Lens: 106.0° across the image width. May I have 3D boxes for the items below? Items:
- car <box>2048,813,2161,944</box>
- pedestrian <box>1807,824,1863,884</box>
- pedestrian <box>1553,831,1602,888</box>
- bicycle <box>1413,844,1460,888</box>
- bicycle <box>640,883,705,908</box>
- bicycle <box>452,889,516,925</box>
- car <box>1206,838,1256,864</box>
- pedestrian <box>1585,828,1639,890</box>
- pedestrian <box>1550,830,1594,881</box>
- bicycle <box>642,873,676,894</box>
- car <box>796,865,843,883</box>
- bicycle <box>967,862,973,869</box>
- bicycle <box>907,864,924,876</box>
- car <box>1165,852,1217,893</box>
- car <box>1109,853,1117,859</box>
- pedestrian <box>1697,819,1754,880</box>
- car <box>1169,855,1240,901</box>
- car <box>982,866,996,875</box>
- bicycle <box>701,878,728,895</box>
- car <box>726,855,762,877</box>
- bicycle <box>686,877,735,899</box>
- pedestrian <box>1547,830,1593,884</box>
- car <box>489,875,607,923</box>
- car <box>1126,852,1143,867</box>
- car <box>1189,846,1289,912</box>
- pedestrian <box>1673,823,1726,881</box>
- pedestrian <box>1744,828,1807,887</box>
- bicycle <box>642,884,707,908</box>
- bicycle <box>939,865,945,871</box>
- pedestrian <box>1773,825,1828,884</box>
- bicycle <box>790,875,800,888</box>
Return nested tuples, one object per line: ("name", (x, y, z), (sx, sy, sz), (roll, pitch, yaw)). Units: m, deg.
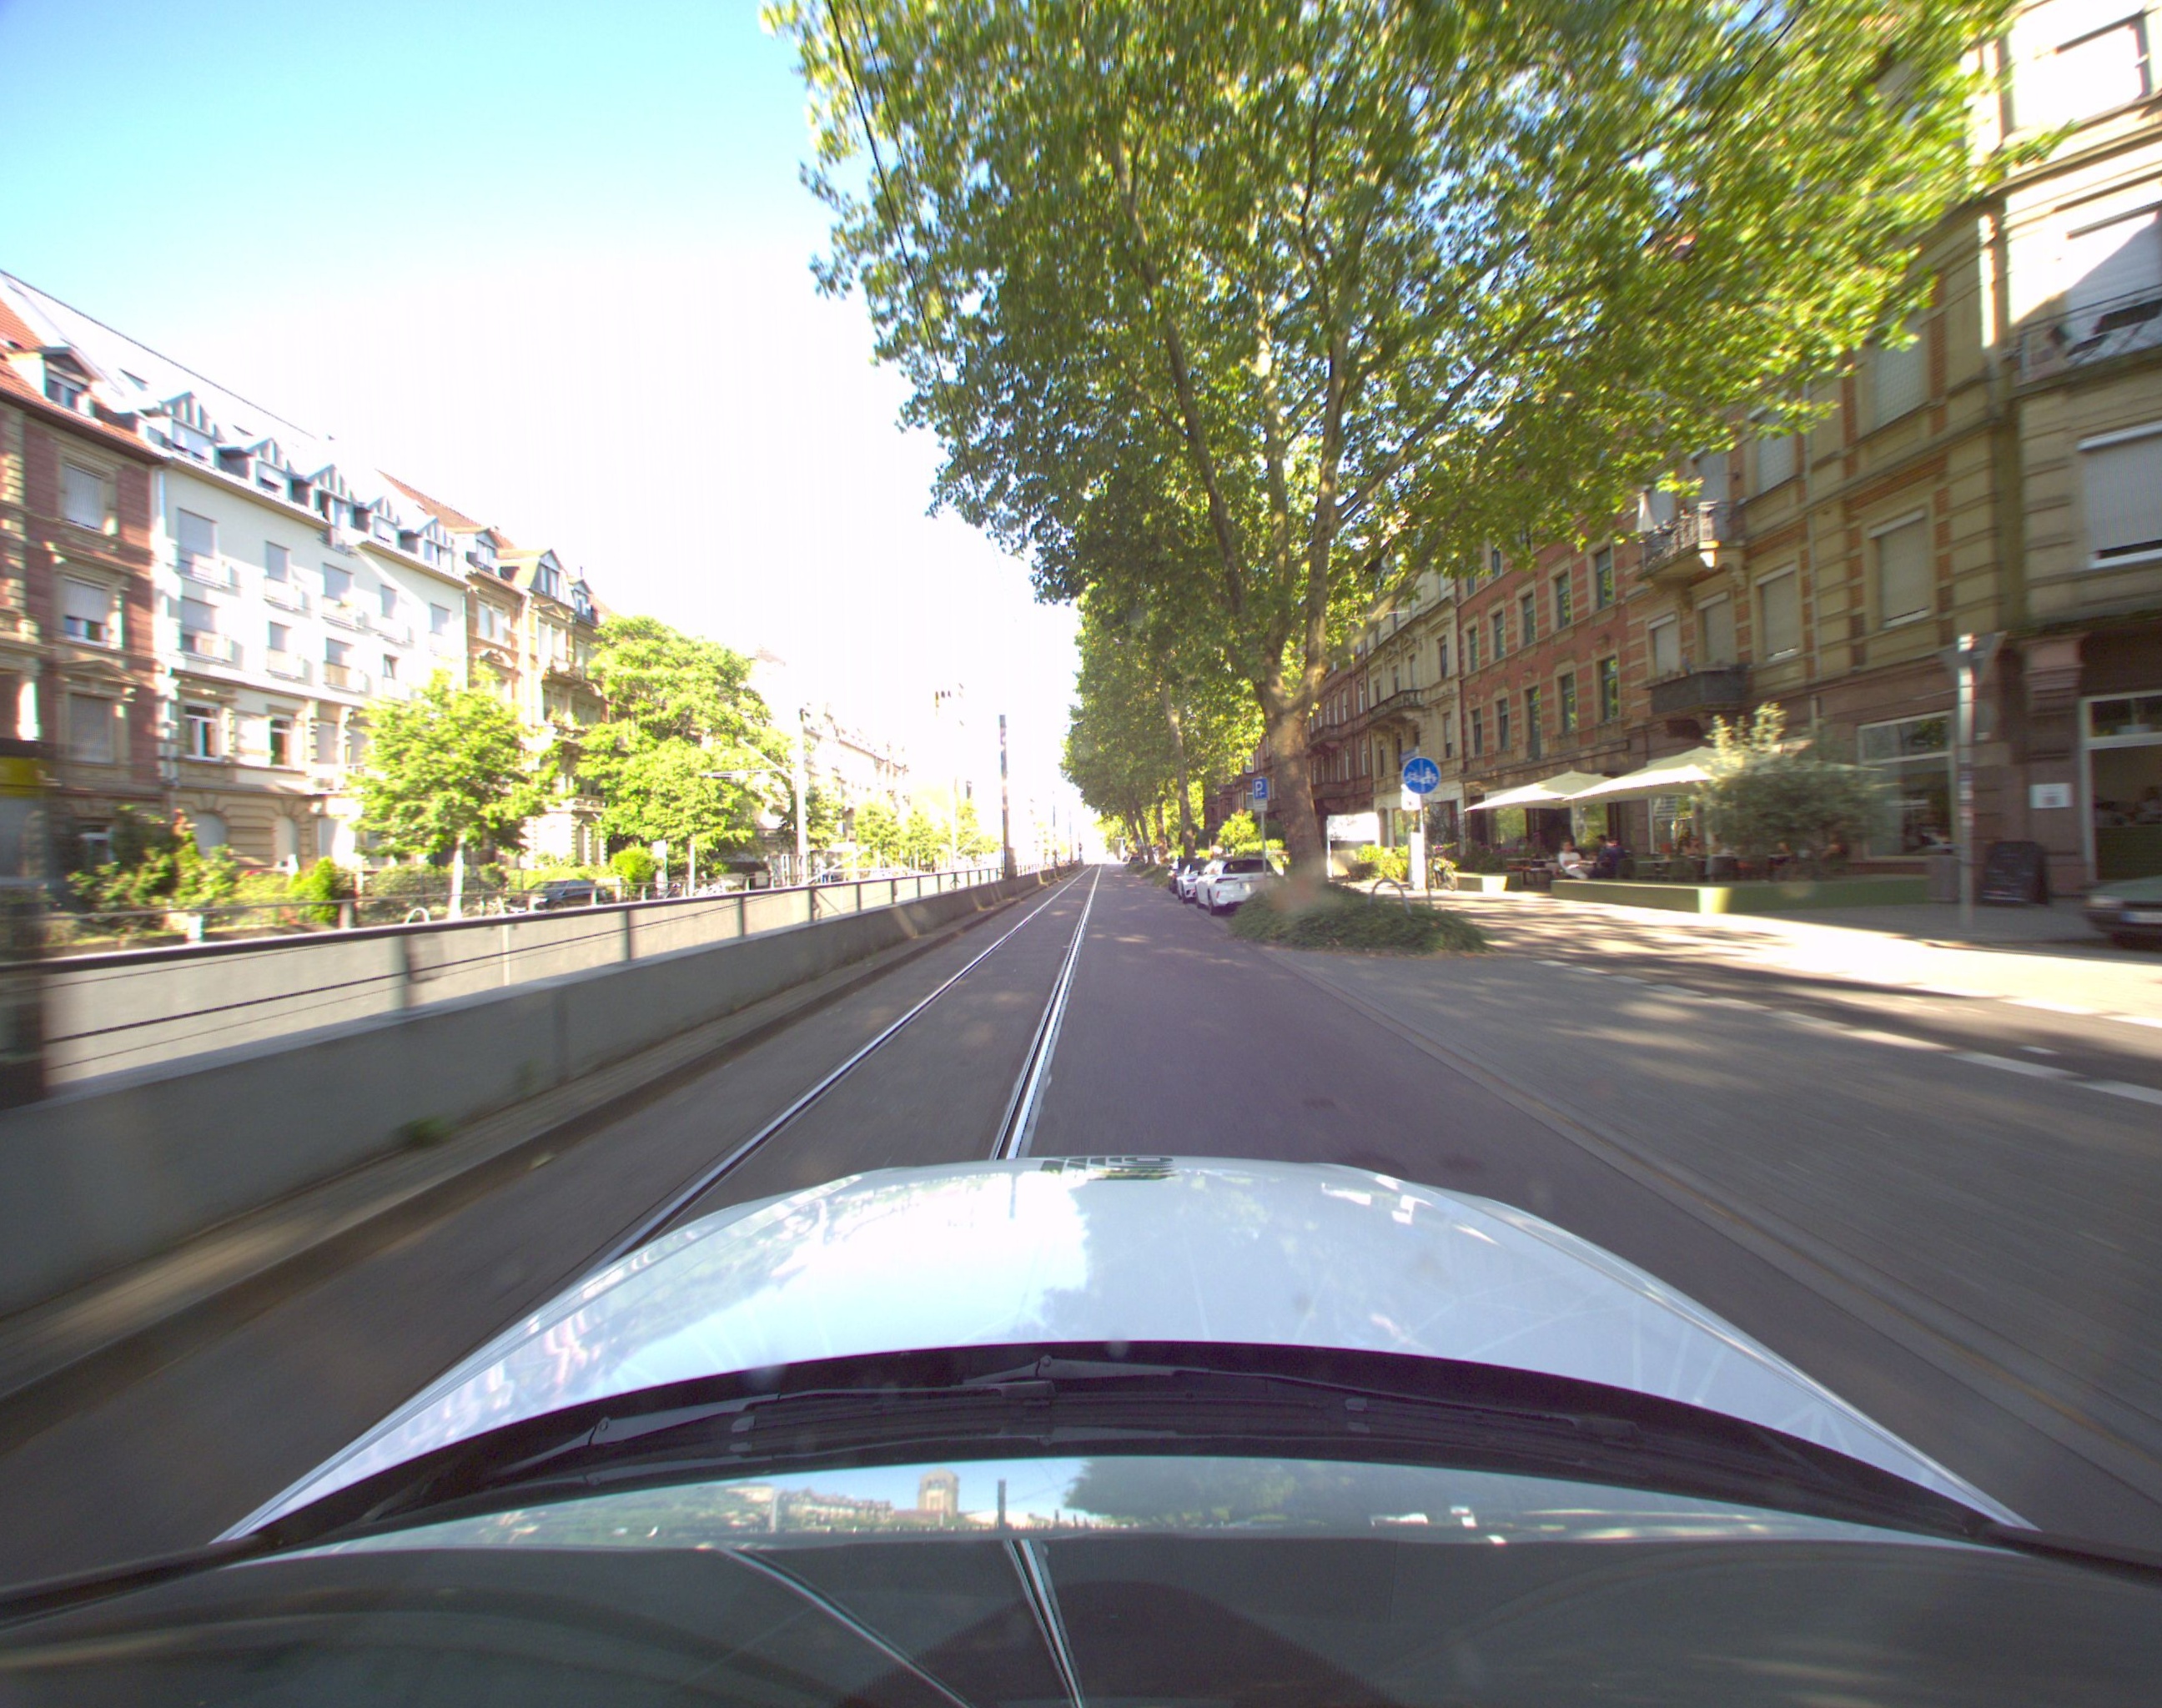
("car", (13.476, 0.185, 8.859), (3.976, 1.364, 1.742), (-3, 1, -2))
("pedestrian", (14.600, -0.001, 15.774), (0.554, 1.138, 0.526), (-2, 0, 1))
("pedestrian", (11.748, 0.120, 19.270), (0.710, 1.300, 0.663), (-2, 0, 0))
("bicycle", (10.027, 0.325, 23.044), (0.473, 1.143, 1.896), (-4, 0, 2))
("bicycle", (-19.931, 2.003, 39.760), (2.796, 1.098, 0.636), (0, 0, -31))
("bicycle", (-20.439, 1.808, 27.908), (1.800, 1.178, 0.563), (0, 0, 3))
("car", (14.056, -0.281, 76.444), (4.163, 2.013, 1.999), (-5, 0, -1))
("pedestrian", (11.717, 0.109, 17.980), (0.710, 1.300, 0.663), (-2, 0, 1))
("pedestrian", (12.955, 0.027, 21.495), (0.710, 1.300, 0.663), (-2, 0, 2))
("bicycle", (-22.935, 1.590, 44.291), (0.553, 1.098, 2.376), (0, 0, 2))
("car", (-25.037, 1.887, 77.993), (3.984, 1.624, 1.820), (-1, 0, -8))
("bicycle", (-17.427, 1.787, 127.857), (0.487, 1.022, 1.879), (0, 0, -22))
("bicycle", (-18.463, 1.769, 90.915), (1.721, 1.280, 0.601), (-2, -1, 7))
("car", (4.477, 0.707, 33.761), (1.725, 1.536, 4.808), (-2, 0, 3))
("car", (7.353, 0.439, 189.017), (1.739, 1.462, 3.645), (0, 0, 1))
("pedestrian", (14.423, -0.099, 18.231), (0.710, 1.300, 0.663), (-2, 0, 1))
("car", (3.971, 0.724, 26.782), (1.823, 1.326, 4.001), (-2, 0, 2))
("car", (-16.728, 2.927, 148.210), (1.708, 1.555, 4.514), (0, 0, 3))
("bicycle", (-19.930, 1.765, 44.285), (1.272, 0.905, 0.534), (0, 0, -29))
("car", (-29.946, 1.066, 72.481), (1.994, 1.849, 4.465), (0, 0, -10))
("bicycle", (-19.849, 1.801, 43.668), (2.382, 1.098, 0.552), (0, 0, -29))
("pedestrian", (12.200, 0.069, 20.327), (0.710, 1.300, 0.663), (-2, 0, 1))
("car", (-20.024, 1.653, 30.804), (1.827, 1.585, 3.999), (0, 0, -1))
("car", (5.974, 0.584, 91.280), (1.611, 1.587, 4.417), (-3, 0, 1))
("car", (4.042, 0.594, 21.558), (1.796, 1.477, 4.647), (-2, 0, 1))
("pedestrian", (14.493, -0.039, 19.086), (0.658, 1.300, 0.715), (-2, 0, 1))
("pedestrian", (14.530, 0.076, 17.048), (0.710, 1.172, 0.663), (-2, 0, 1))
("bicycle", (-19.544, 2.006, 39.190), (2.796, 1.098, 0.636), (0, 0, -31))
("bicycle", (-20.844, 2.055, 122.100), (0.414, 0.800, 1.890), (0, 0, 5))
("pedestrian", (13.928, 0.015, 15.775), (0.554, 1.102, 0.526), (-2, 0, 1))
("bicycle", (-22.555, 2.196, 64.243), (0.457, 1.005, 1.925), (0, -3, -29))
